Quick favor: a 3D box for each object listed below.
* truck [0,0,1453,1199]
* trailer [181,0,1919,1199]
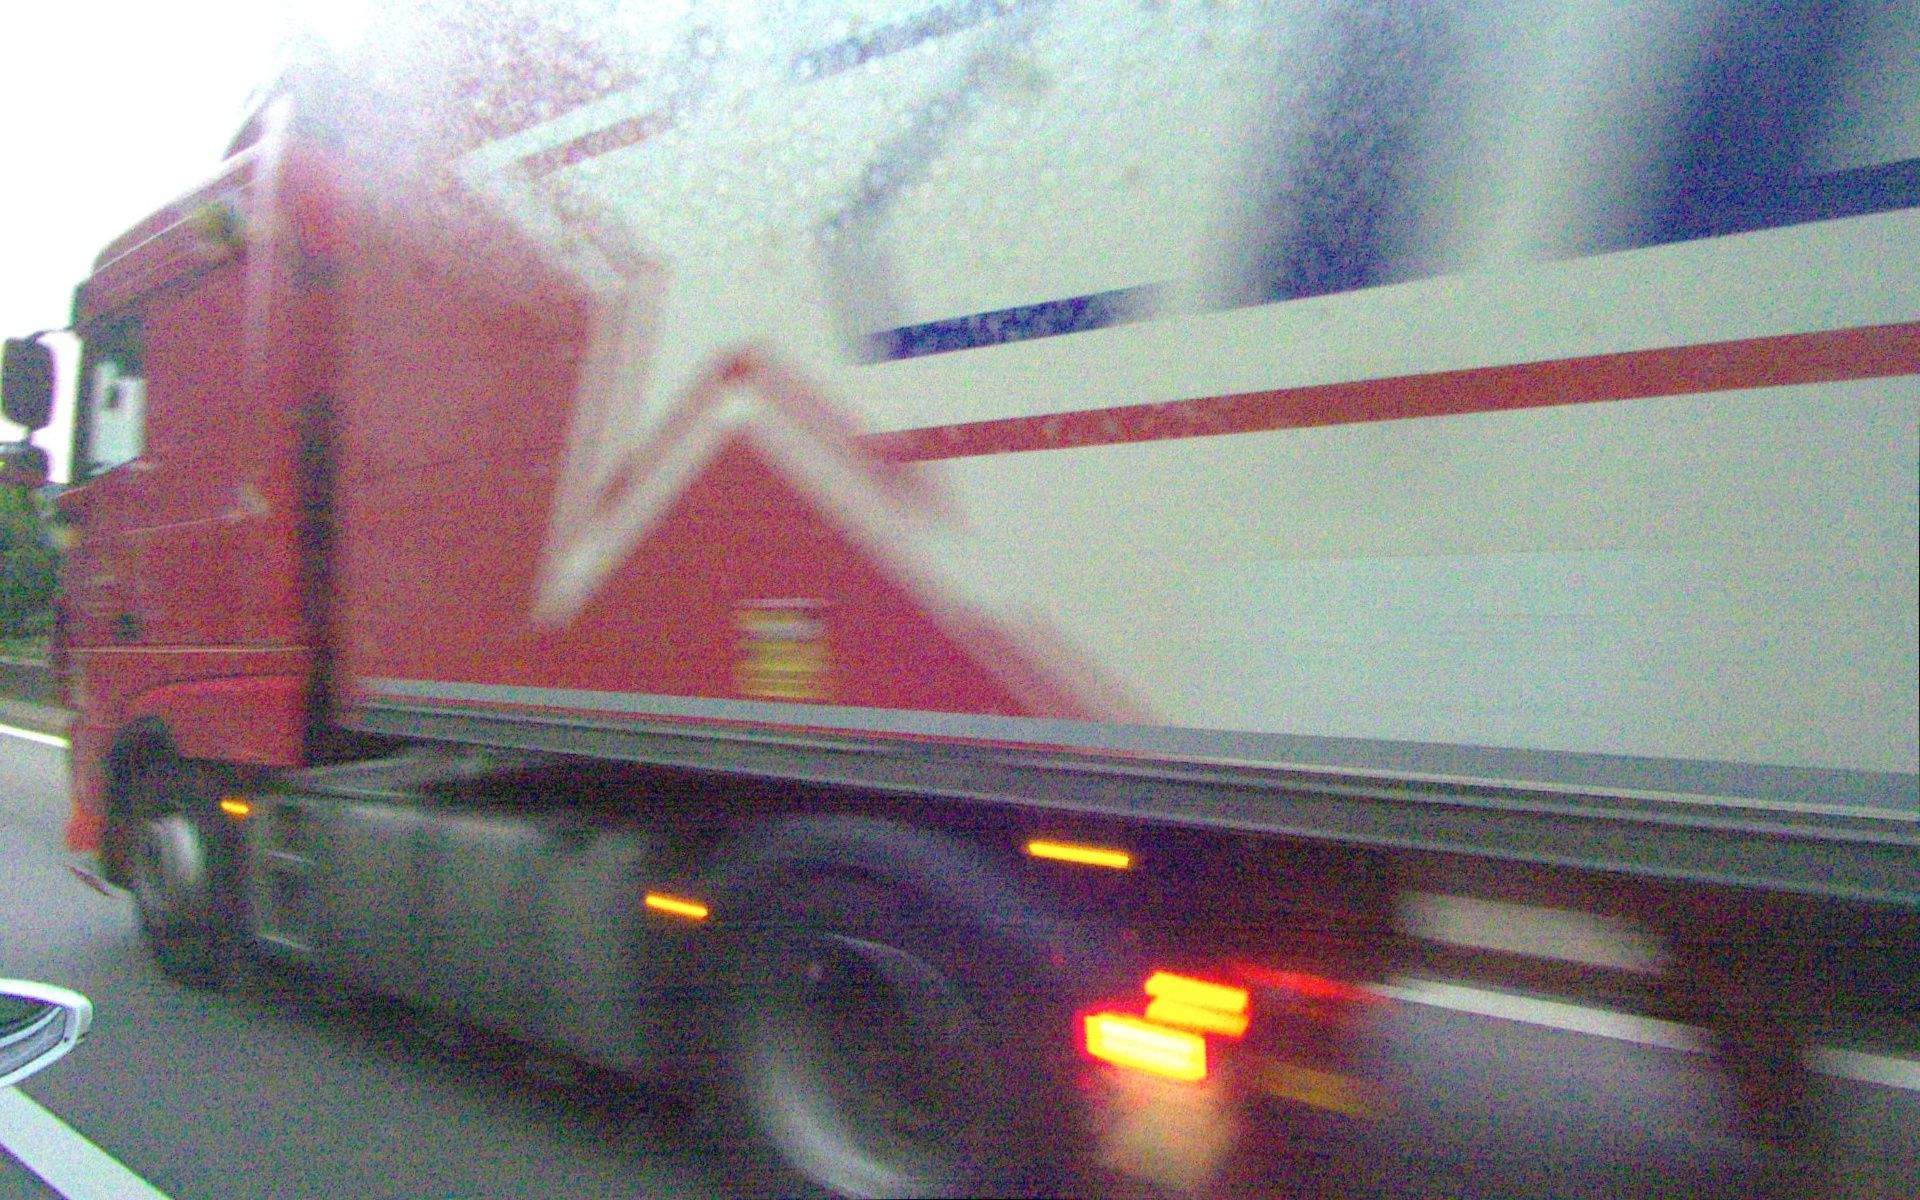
[{"bbox_3d":[-1.400,-0.508,4.617,6.353,4.198,3.065,-1,-1,31],"label":"truck"},{"bbox_3d":[4.126,-0.481,1.266,14.006,4.022,3.092,-1,0,30],"label":"trailer"}]
